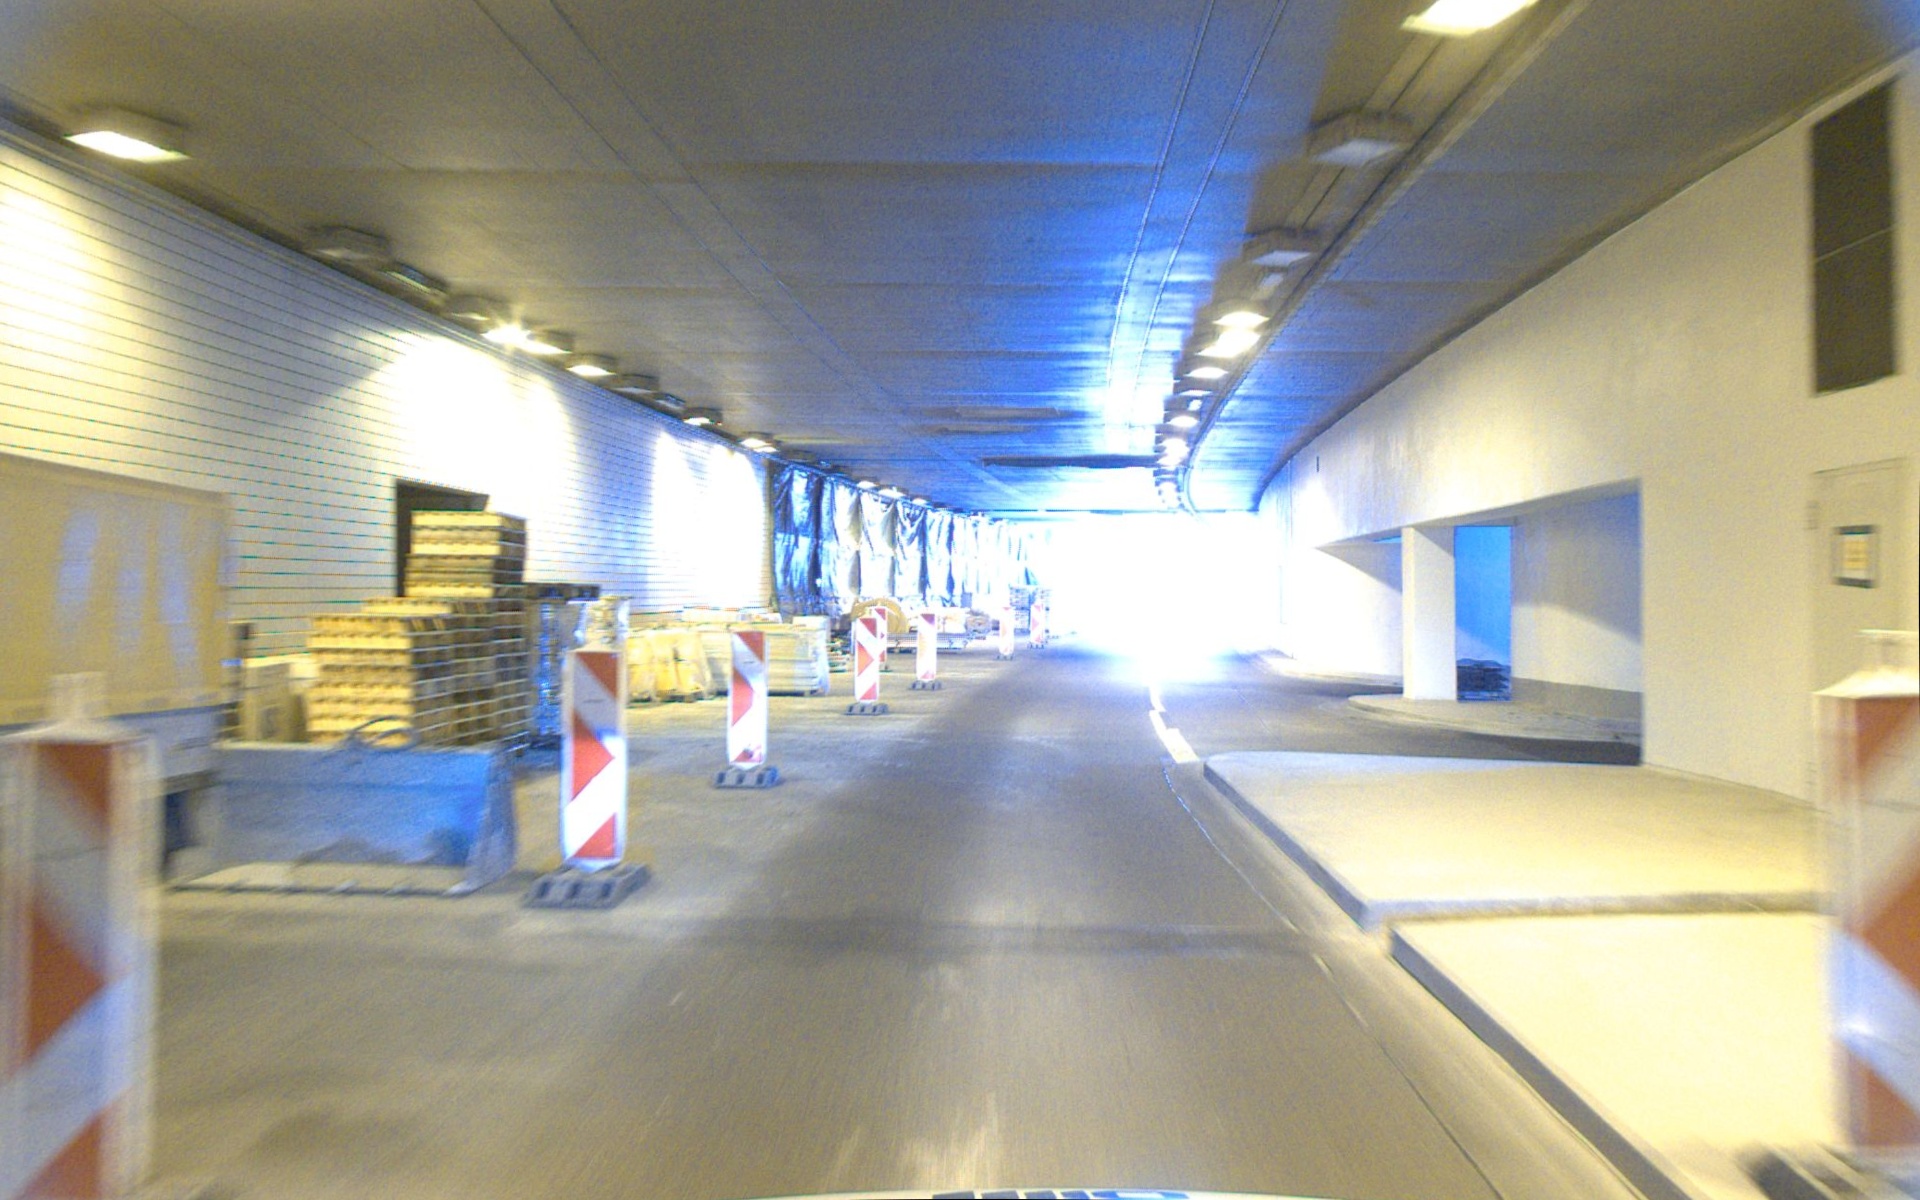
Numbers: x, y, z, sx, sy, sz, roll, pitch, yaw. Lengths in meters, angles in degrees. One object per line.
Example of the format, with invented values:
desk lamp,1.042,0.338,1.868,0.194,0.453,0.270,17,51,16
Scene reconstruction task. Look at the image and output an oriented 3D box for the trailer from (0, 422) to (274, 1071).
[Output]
trailer,-4.120,0.456,5.633,2.163,2.049,3.465,1,0,-2
